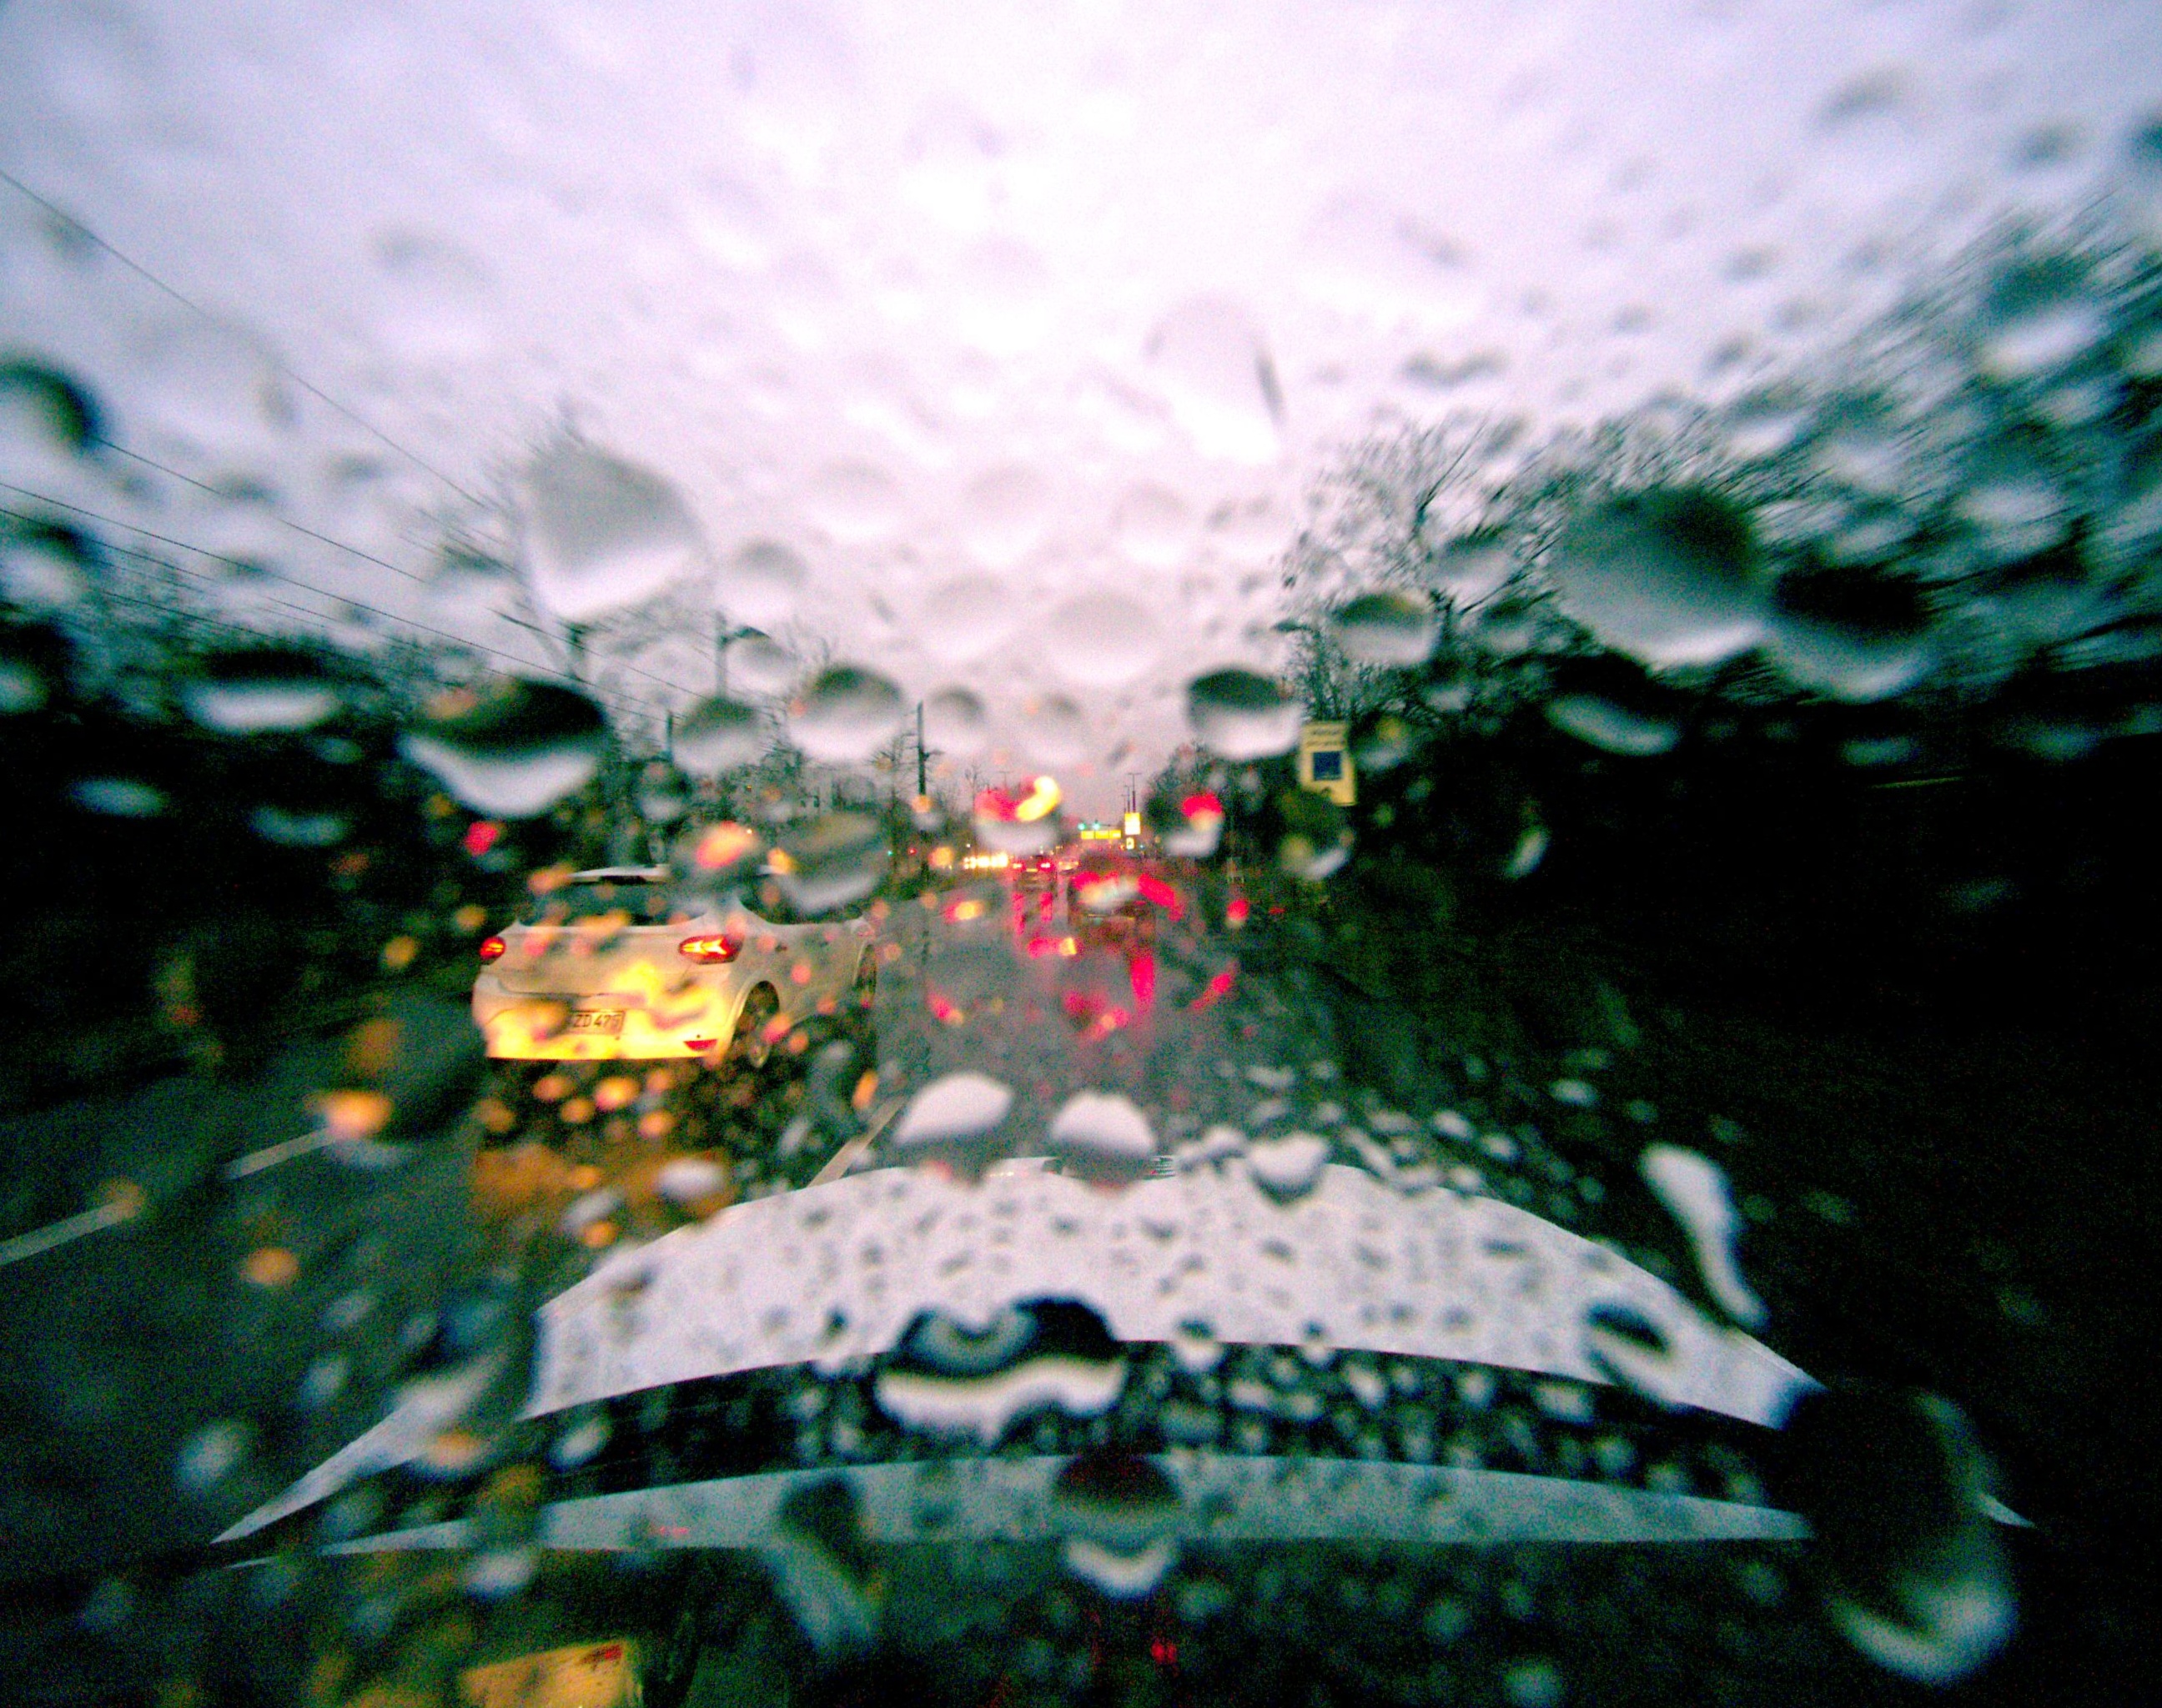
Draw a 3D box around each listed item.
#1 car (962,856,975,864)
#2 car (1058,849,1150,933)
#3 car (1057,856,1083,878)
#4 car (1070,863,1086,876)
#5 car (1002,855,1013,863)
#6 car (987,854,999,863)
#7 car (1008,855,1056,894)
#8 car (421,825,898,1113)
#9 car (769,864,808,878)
[{"bbox_3d":[-21.343,1.143,154.797,1.612,1.495,4.019,-2,0,2],"label":"car"},{"bbox_3d":[0.528,0.740,18.725,1.815,1.648,4.468,-2,0,2],"label":"car"},{"bbox_3d":[-0.863,1.009,66.280,1.815,1.648,4.002,-2,0,2],"label":"car"},{"bbox_3d":[-0.288,1.630,87.274,1.499,1.339,4.002,-2,0,2],"label":"car"},{"bbox_3d":[-14.009,0.867,155.616,1.646,1.420,3.326,-2,0,0],"label":"car"},{"bbox_3d":[-16.811,0.893,156.146,1.764,1.553,3.946,-2,0,0],"label":"car"},{"bbox_3d":[-2.201,0.902,37.821,1.815,1.648,4.002,-2,0,2],"label":"car"},{"bbox_3d":[-2.945,0.674,6.858,1.707,1.648,4.149,-2,0,2],"label":"car"},{"bbox_3d":[-37.437,2.125,104.162,4.449,1.544,1.836,-2,0,-26],"label":"car"}]
